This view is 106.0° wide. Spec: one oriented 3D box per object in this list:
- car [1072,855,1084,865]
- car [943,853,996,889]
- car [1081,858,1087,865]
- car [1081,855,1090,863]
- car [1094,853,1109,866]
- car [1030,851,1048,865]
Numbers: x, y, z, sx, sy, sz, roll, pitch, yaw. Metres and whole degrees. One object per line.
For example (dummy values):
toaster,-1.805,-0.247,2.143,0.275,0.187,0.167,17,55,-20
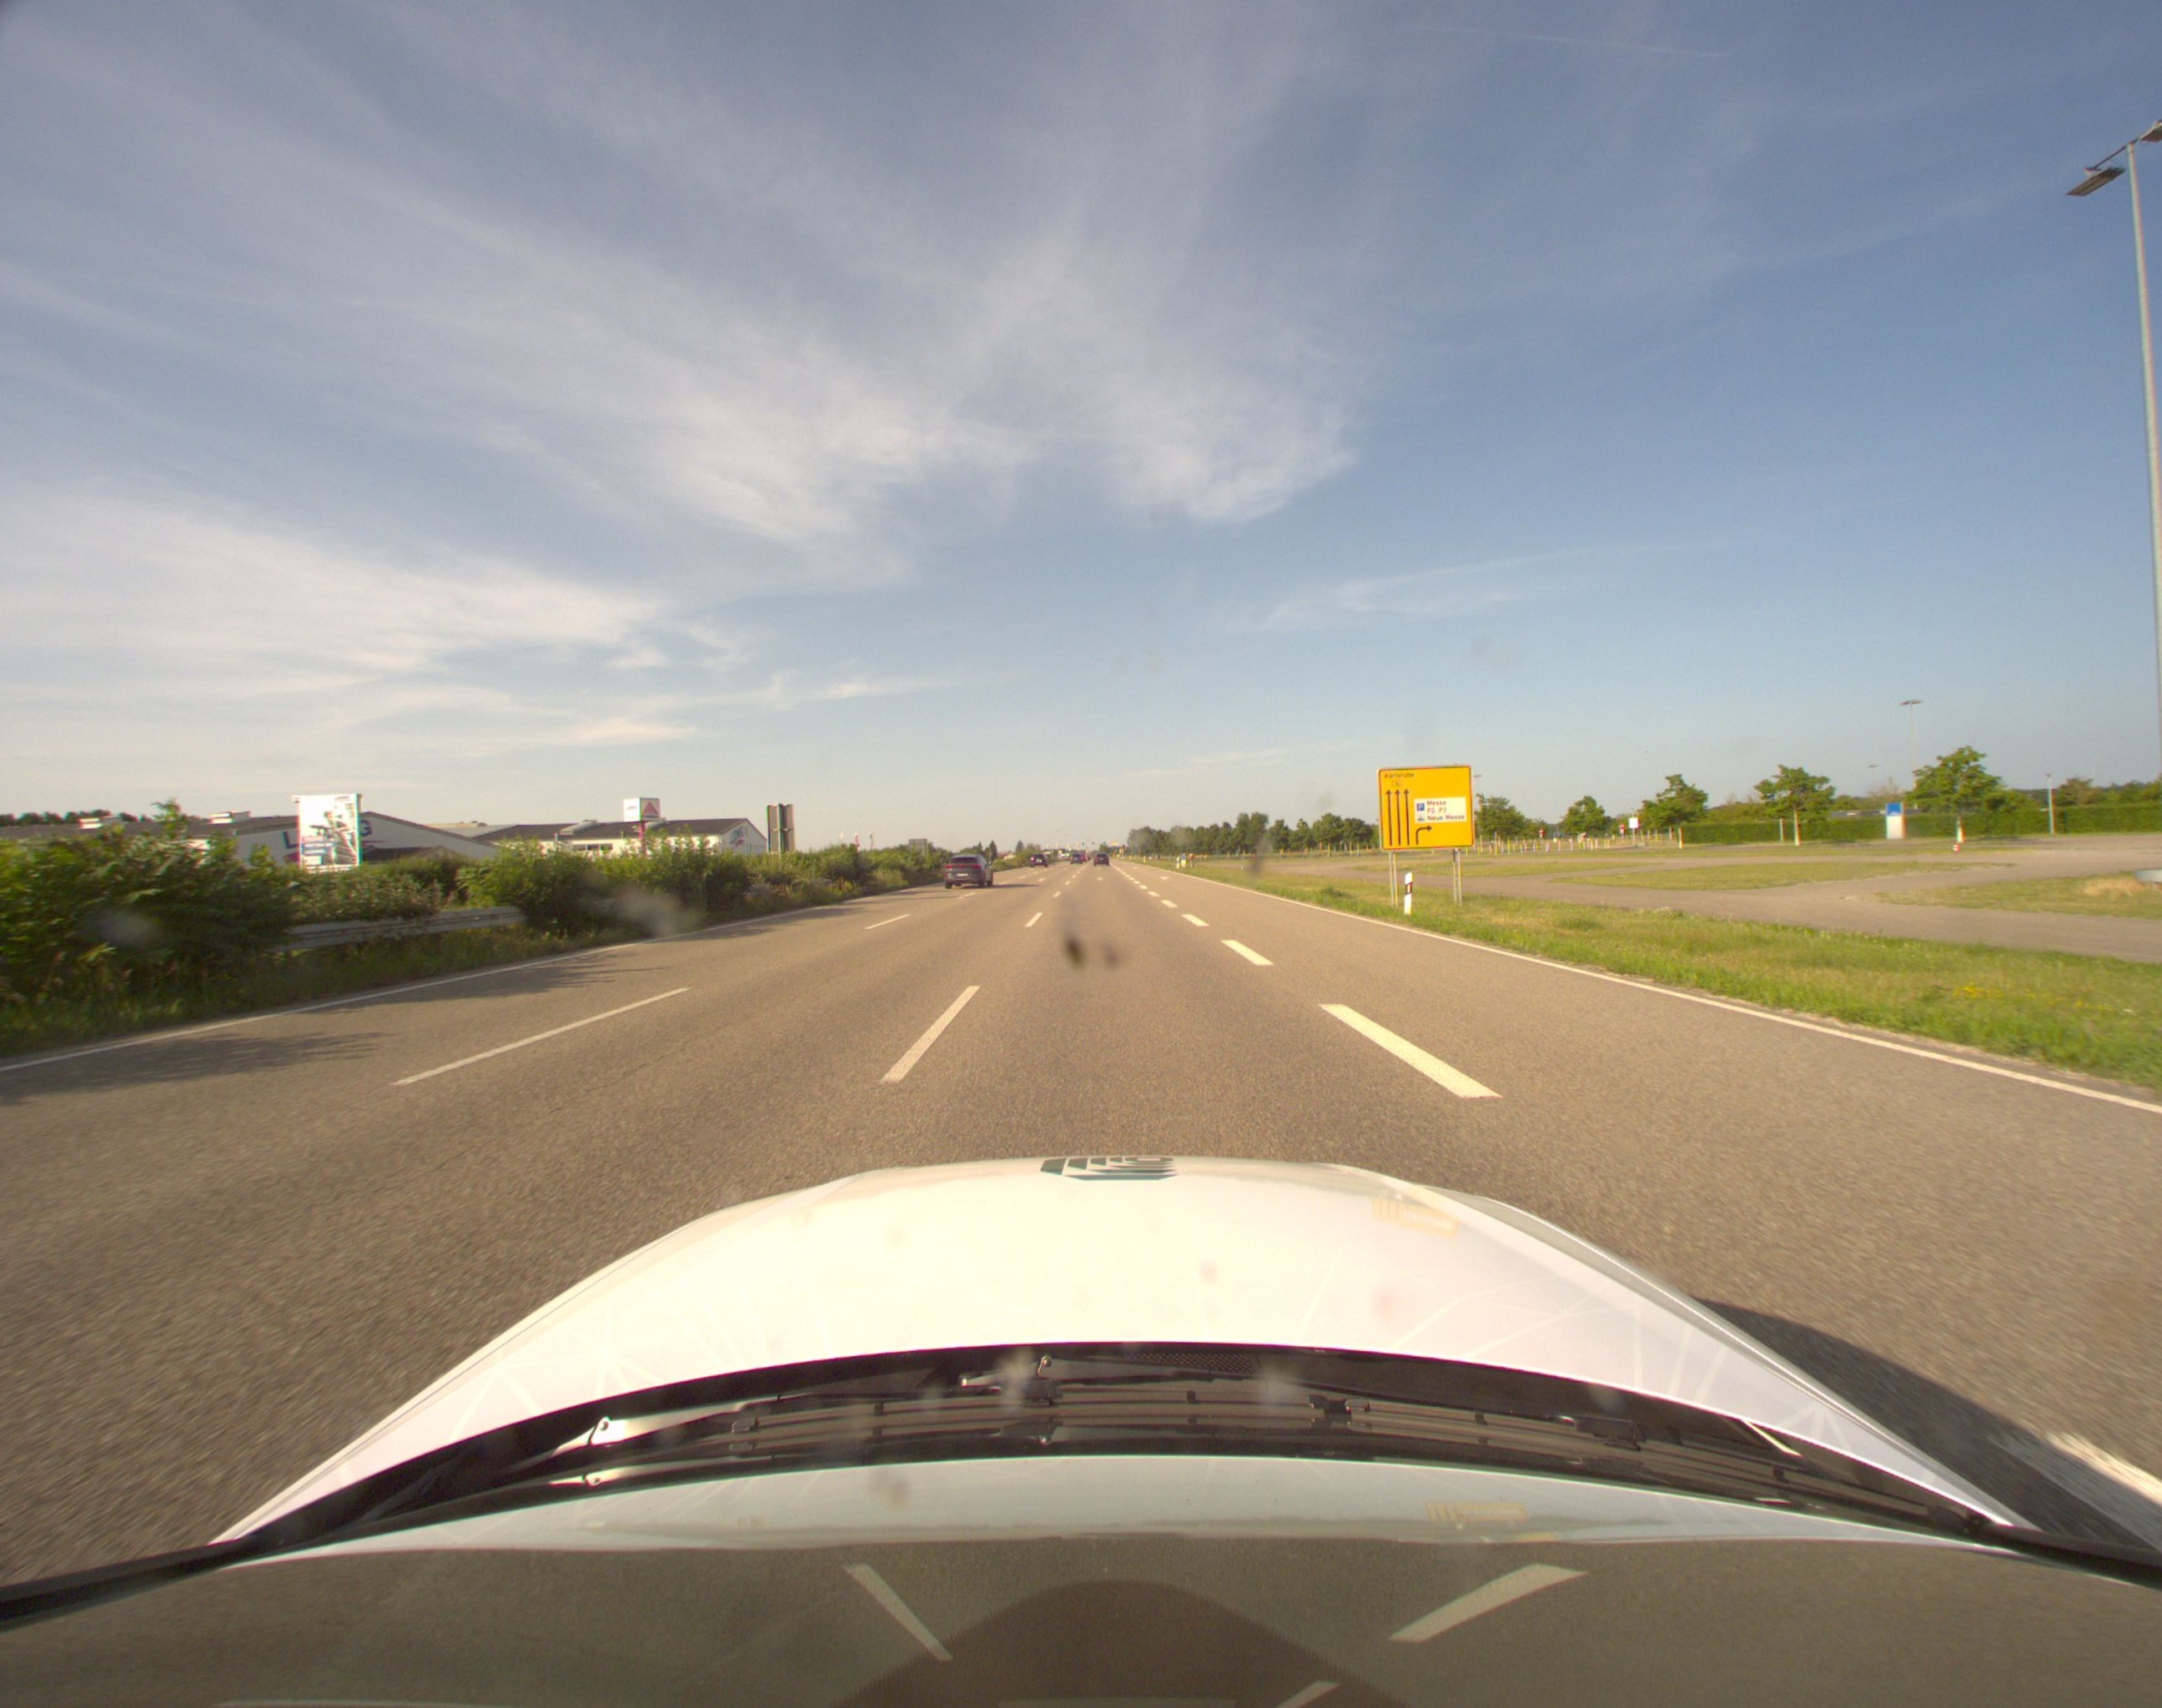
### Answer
car,-0.442,0.914,126.157,1.806,1.463,4.401,0,0,1
car,-5.310,0.761,39.183,1.839,1.612,4.401,0,0,1
car,0.732,1.774,199.657,1.640,1.728,3.401,-1,-1,0
car,0.898,0.970,151.249,1.641,1.463,3.981,0,0,1
car,2.609,0.685,103.972,1.925,1.680,4.401,0,0,1
car,-4.996,0.501,97.491,1.925,1.680,4.401,0,0,1
